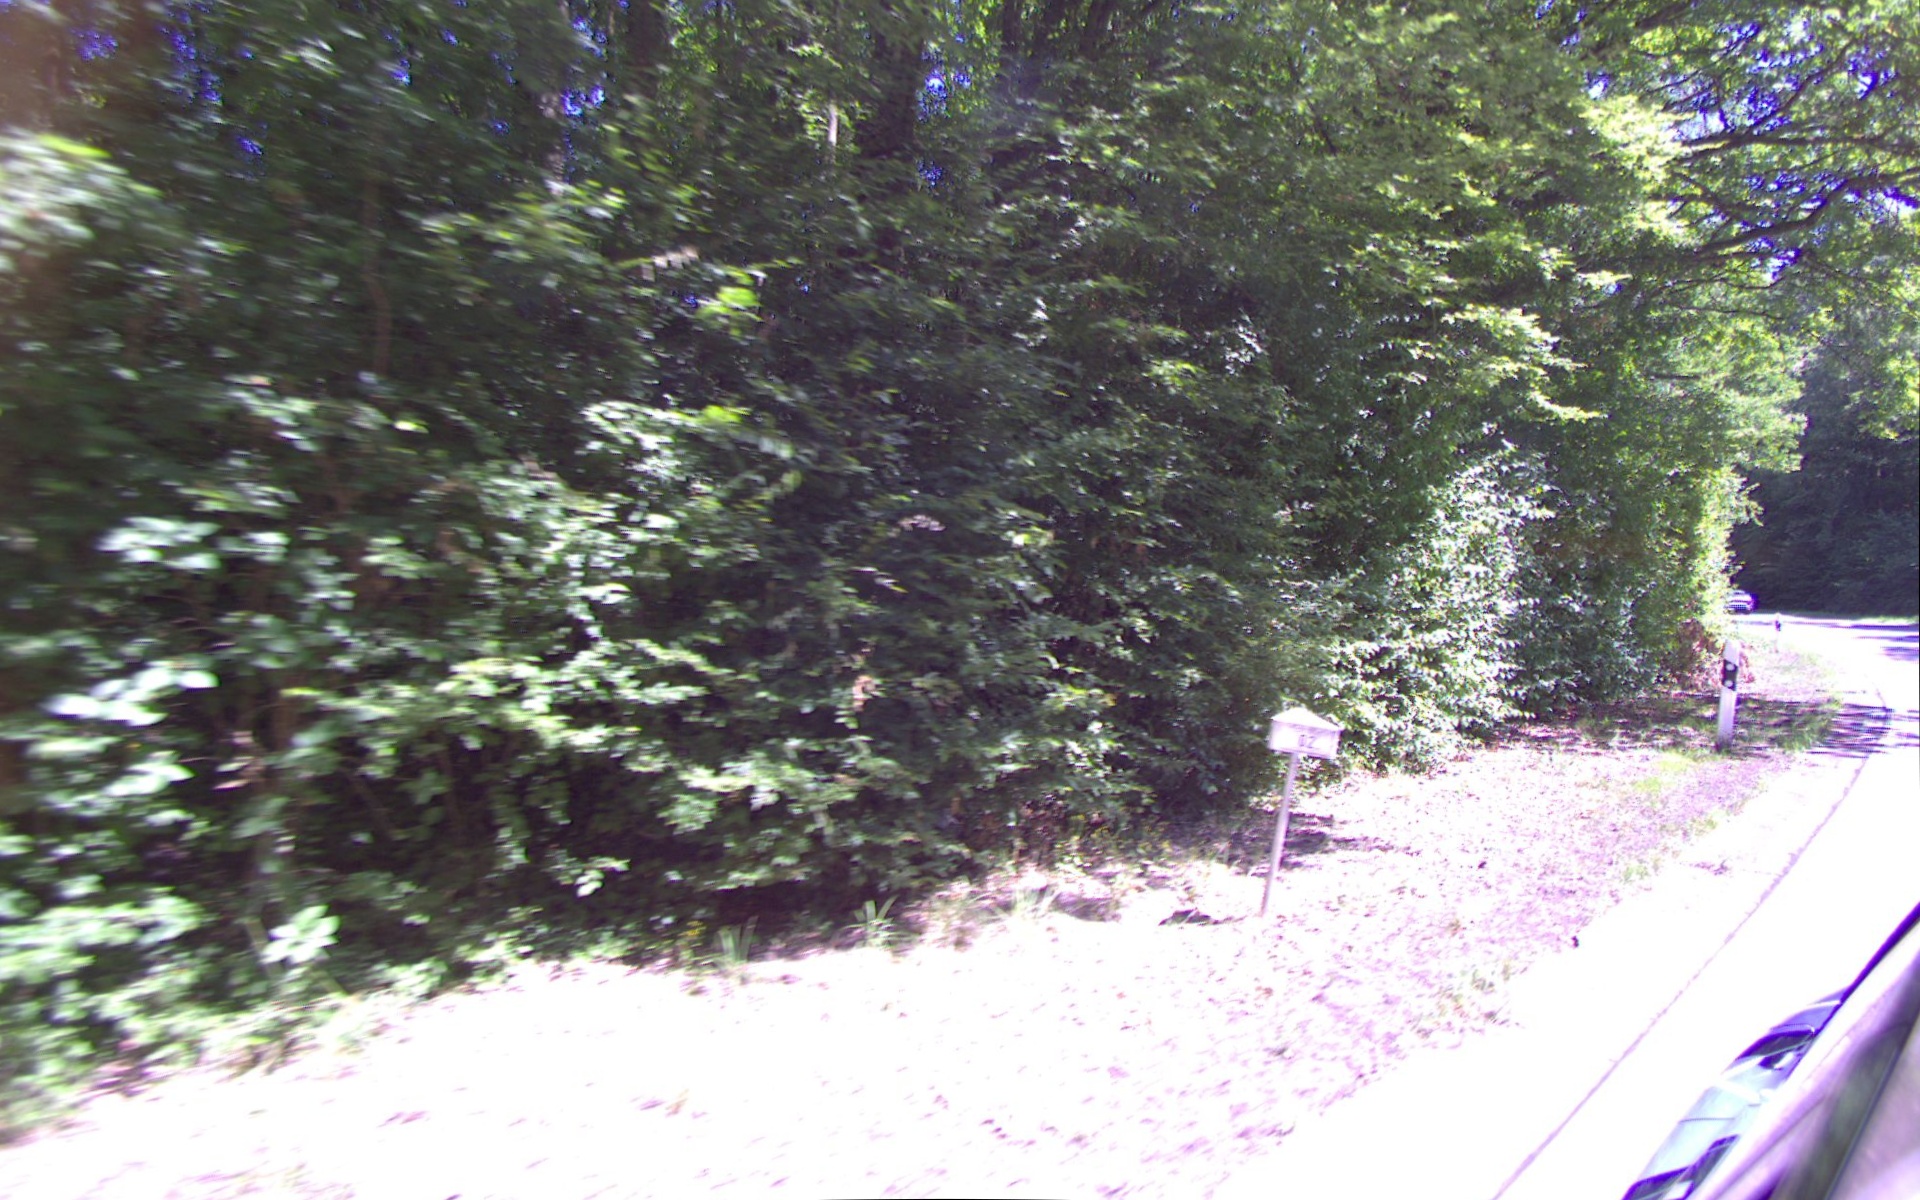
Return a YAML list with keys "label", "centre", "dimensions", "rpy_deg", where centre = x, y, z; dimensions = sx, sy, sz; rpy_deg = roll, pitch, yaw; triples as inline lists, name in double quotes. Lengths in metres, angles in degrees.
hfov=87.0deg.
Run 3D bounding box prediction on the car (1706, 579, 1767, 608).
- label: "car"
  centre: [45.360, -0.393, 59.234]
  dimensions: [1.742, 1.593, 4.334]
  rpy_deg: [1, 1, 23]
